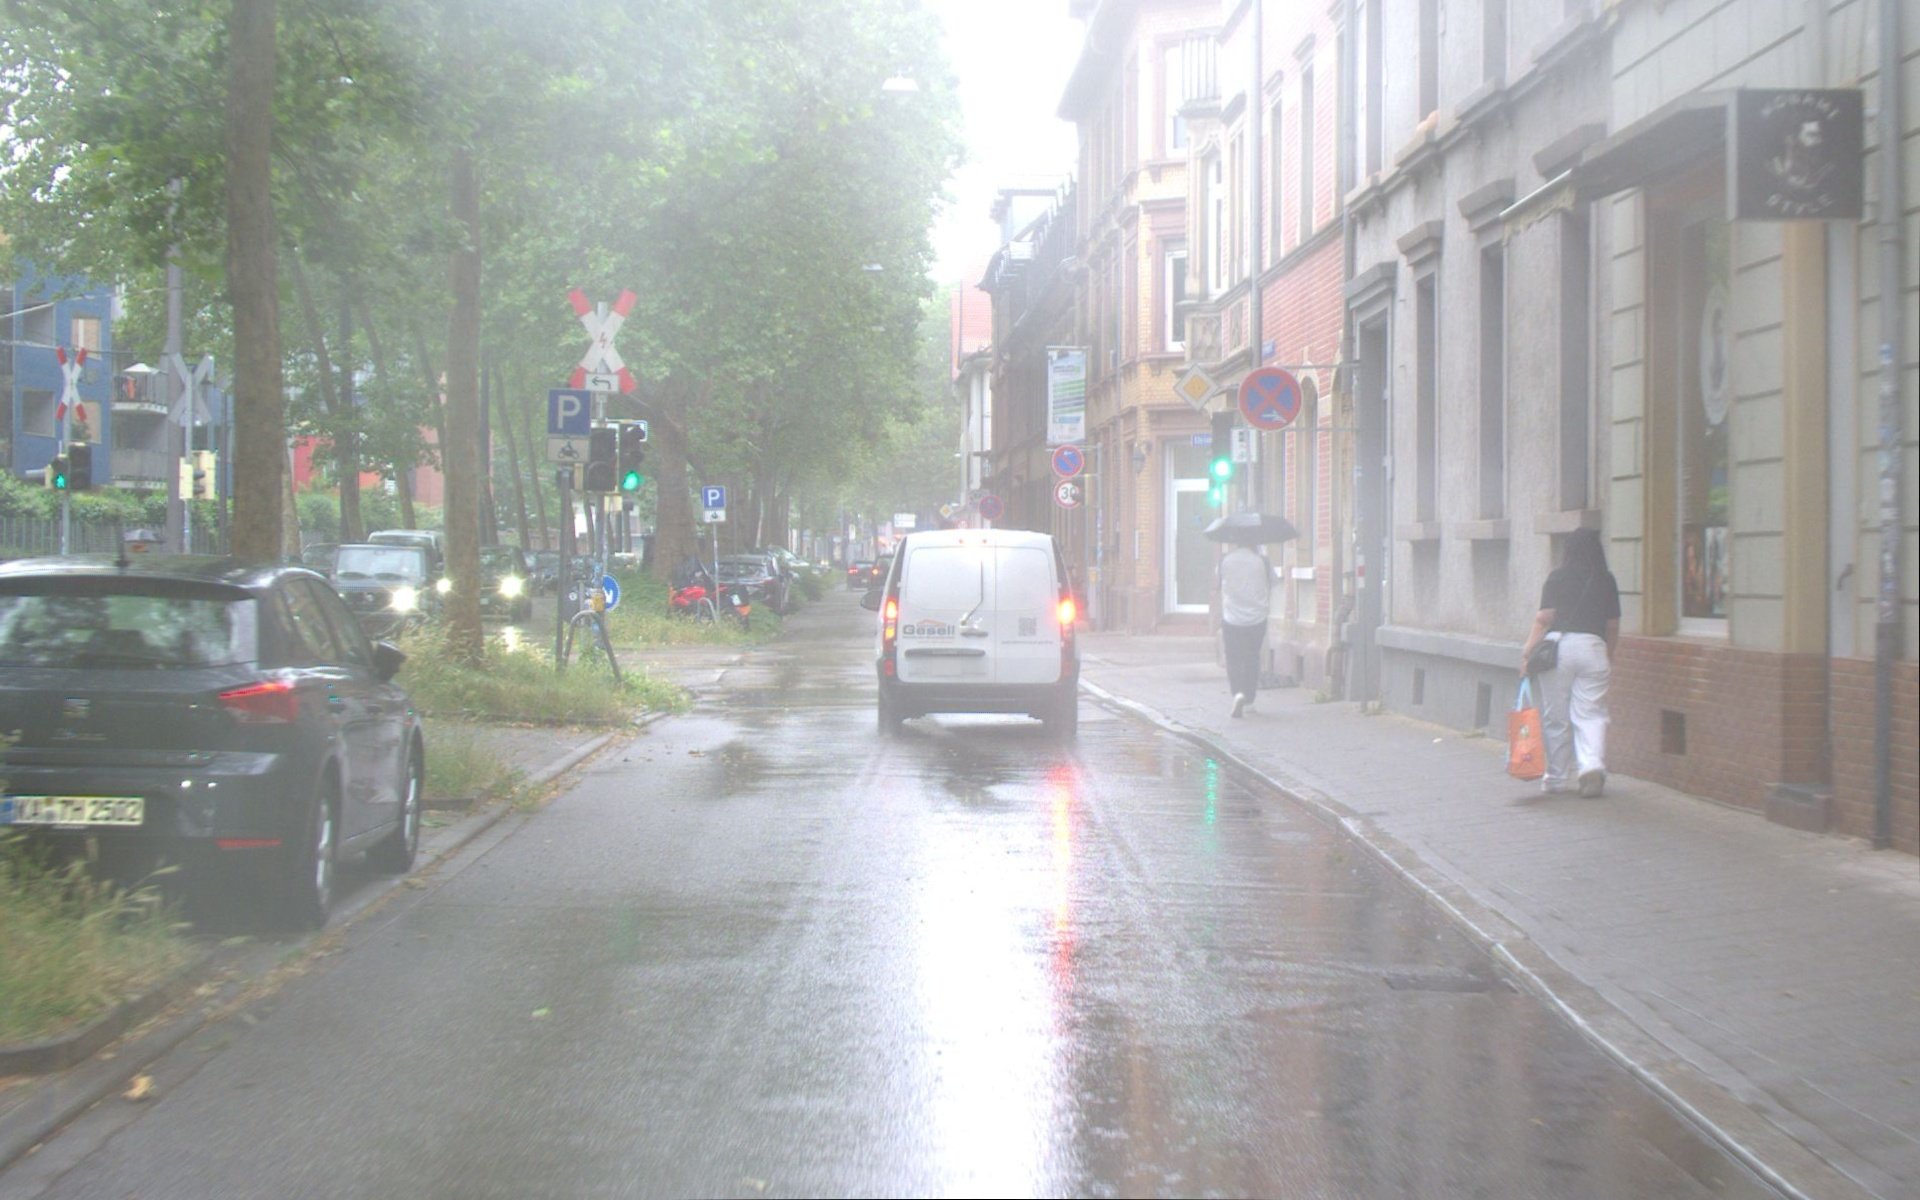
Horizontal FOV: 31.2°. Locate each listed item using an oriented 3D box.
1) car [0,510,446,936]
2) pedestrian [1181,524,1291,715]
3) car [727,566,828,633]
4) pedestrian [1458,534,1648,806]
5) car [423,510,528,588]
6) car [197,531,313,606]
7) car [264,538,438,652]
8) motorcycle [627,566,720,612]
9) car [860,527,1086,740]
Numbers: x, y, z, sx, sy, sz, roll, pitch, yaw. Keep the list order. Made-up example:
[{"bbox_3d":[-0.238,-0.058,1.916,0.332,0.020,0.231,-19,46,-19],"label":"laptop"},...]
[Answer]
[{"bbox_3d":[-3.266,0.413,14.424,1.648,1.495,4.119,2,1,-2],"label":"car"},{"bbox_3d":[2.577,0.171,32.186,0.840,1.710,1.108,-3,1,-1],"label":"pedestrian"},{"bbox_3d":[-3.949,-0.029,75.037,1.993,1.382,4.000,1,1,0],"label":"car"},{"bbox_3d":[3.438,0.389,20.034,0.840,1.506,1.108,-3,1,-1],"label":"pedestrian"},{"bbox_3d":[-10.494,-1.123,74.626,1.997,1.607,4.124,1,1,-5],"label":"car"},{"bbox_3d":[-13.851,-0.640,67.716,1.993,1.410,4.001,1,1,-8],"label":"car"},{"bbox_3d":[-9.014,-0.103,51.142,1.997,1.607,4.001,1,1,-2],"label":"car"},{"bbox_3d":[-5.530,-0.212,66.389,1.706,0.862,0.577,1,1,4],"label":"motorcycle"},{"bbox_3d":[0.084,0.297,31.288,1.903,1.791,4.113,0,0,-1],"label":"car"}]
